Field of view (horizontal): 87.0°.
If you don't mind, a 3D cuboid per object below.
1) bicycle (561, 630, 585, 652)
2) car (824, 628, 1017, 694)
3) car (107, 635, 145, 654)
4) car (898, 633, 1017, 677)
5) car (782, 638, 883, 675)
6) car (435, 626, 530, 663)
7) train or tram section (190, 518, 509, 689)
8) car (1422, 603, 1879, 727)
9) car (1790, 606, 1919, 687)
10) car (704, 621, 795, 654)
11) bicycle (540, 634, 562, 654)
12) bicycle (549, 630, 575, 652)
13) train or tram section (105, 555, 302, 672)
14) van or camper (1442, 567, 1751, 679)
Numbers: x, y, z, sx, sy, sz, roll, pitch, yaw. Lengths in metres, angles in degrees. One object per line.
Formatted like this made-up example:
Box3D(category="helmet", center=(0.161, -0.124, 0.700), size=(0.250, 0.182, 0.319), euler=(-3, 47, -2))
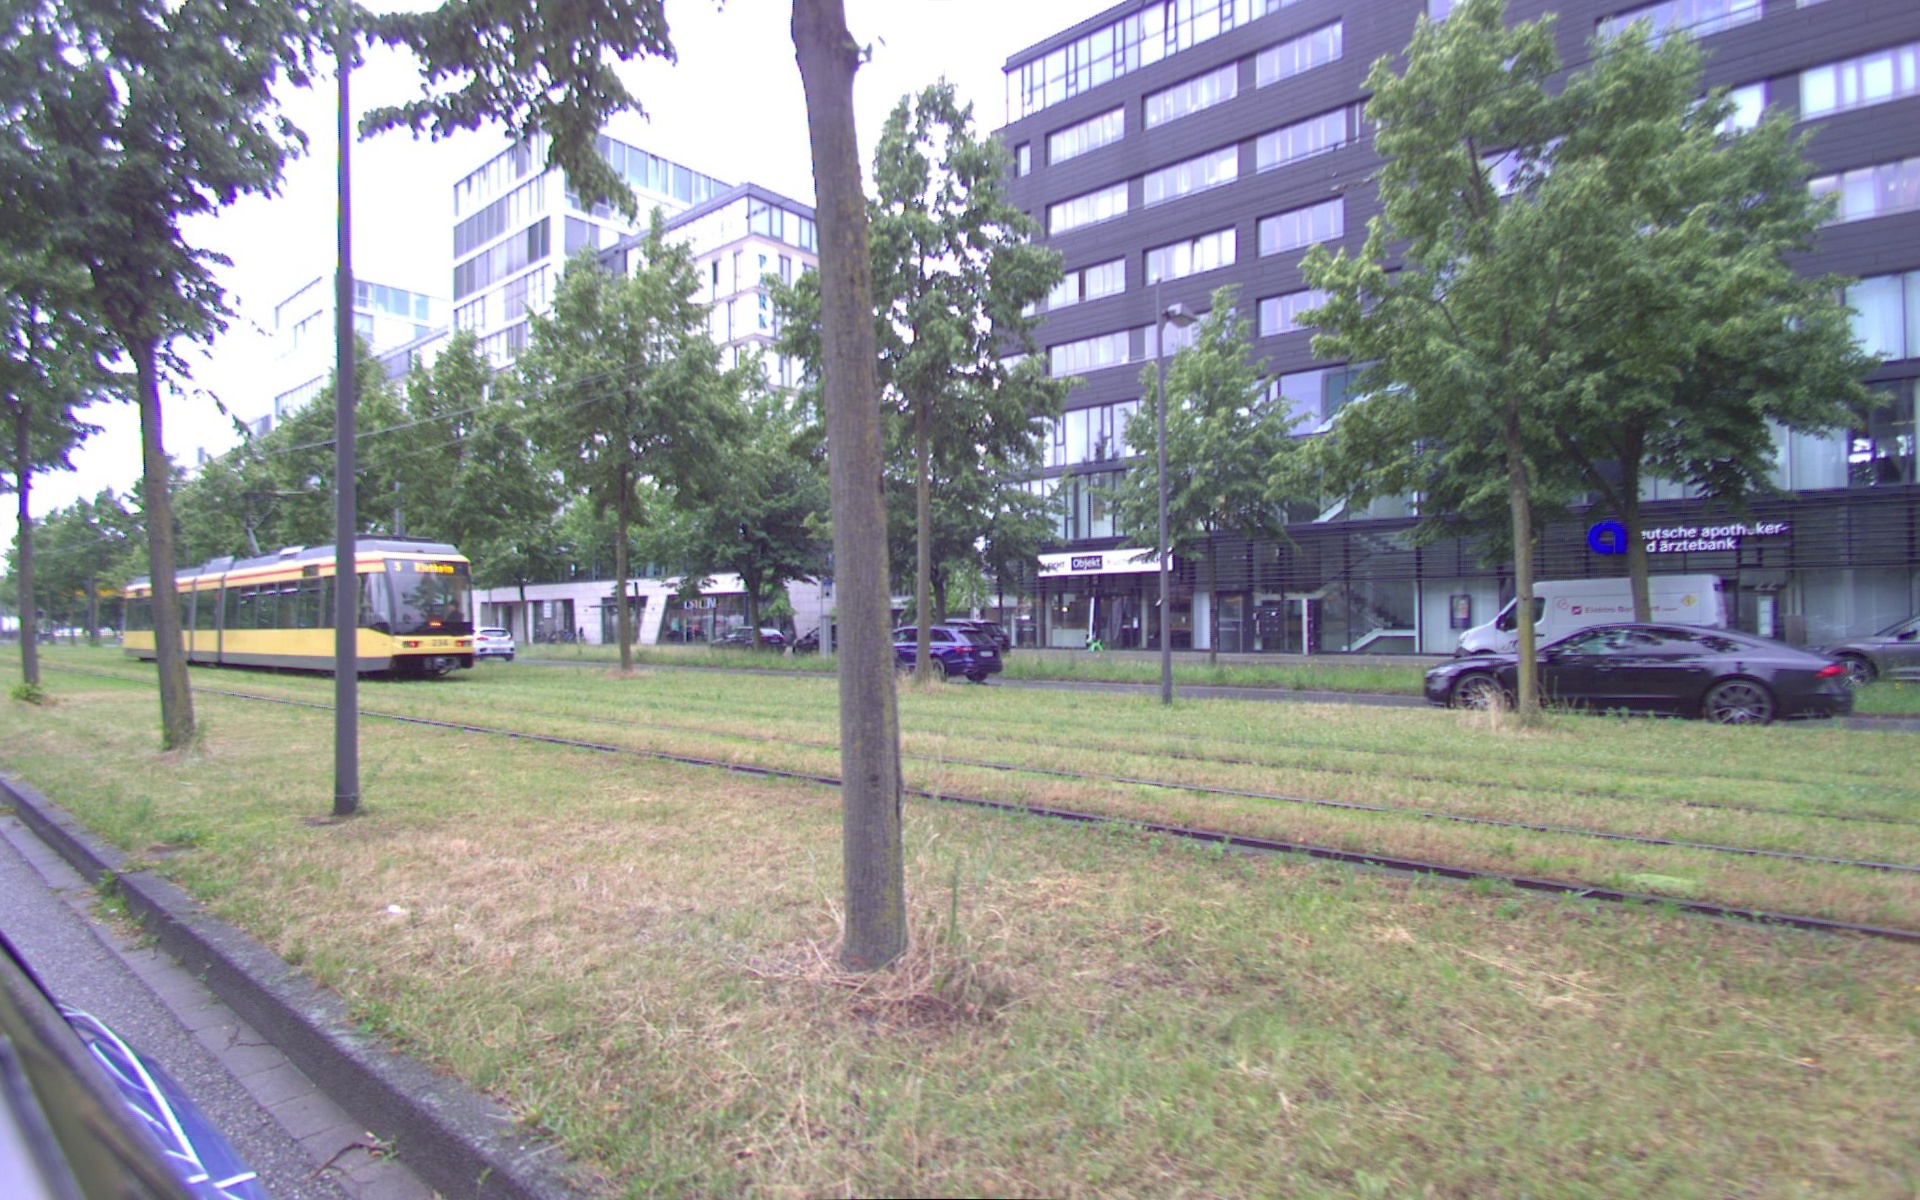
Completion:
Box3D(category="bicycle", center=(-28.337, 3.005, 74.171), size=(0.606, 1.550, 1.552), euler=(-2, -1, 40))
Box3D(category="car", center=(-1.092, 1.520, 26.256), size=(4.864, 1.533, 1.975), euler=(-2, -1, 37))
Box3D(category="car", center=(-71.938, 3.801, 87.256), size=(4.477, 1.536, 1.843), euler=(-2, -2, 41))
Box3D(category="car", center=(-0.139, 1.966, 36.769), size=(4.239, 1.460, 1.684), euler=(-2, -1, 41))
Box3D(category="car", center=(-5.249, 2.284, 41.441), size=(3.998, 1.389, 1.973), euler=(-2, -1, 41))
Box3D(category="car", center=(-21.183, 1.951, 44.803), size=(4.868, 1.533, 1.973), euler=(-2, -1, 40))
Box3D(category="train or tram section", center=(-17.459, 0.260, 27.951), size=(15.055, 3.687, 3.096), euler=(-2, -1, 41))
Box3D(category="car", center=(9.182, 0.785, 13.816), size=(4.869, 1.390, 1.973), euler=(-2, -1, 41))
Box3D(category="car", center=(19.338, 0.887, 19.912), size=(4.602, 1.533, 1.973), euler=(-2, -1, 40))
Box3D(category="car", center=(-9.402, 1.647, 45.109), size=(3.998, 1.389, 1.973), euler=(-2, -1, 41))
Box3D(category="bicycle", center=(-30.720, 3.307, 76.025), size=(0.546, 1.494, 1.417), euler=(-2, -1, 40))
Box3D(category="bicycle", center=(-29.420, 3.037, 74.767), size=(0.680, 1.550, 1.686), euler=(-2, -1, 40))
Box3D(category="train or tram section", center=(-28.261, 0.593, 37.368), size=(13.398, 3.687, 3.096), euler=(-2, -1, 41))
Box3D(category="van or camper", center=(14.869, 0.553, 23.896), size=(5.847, 2.333, 2.408), euler=(-2, -1, 41))
